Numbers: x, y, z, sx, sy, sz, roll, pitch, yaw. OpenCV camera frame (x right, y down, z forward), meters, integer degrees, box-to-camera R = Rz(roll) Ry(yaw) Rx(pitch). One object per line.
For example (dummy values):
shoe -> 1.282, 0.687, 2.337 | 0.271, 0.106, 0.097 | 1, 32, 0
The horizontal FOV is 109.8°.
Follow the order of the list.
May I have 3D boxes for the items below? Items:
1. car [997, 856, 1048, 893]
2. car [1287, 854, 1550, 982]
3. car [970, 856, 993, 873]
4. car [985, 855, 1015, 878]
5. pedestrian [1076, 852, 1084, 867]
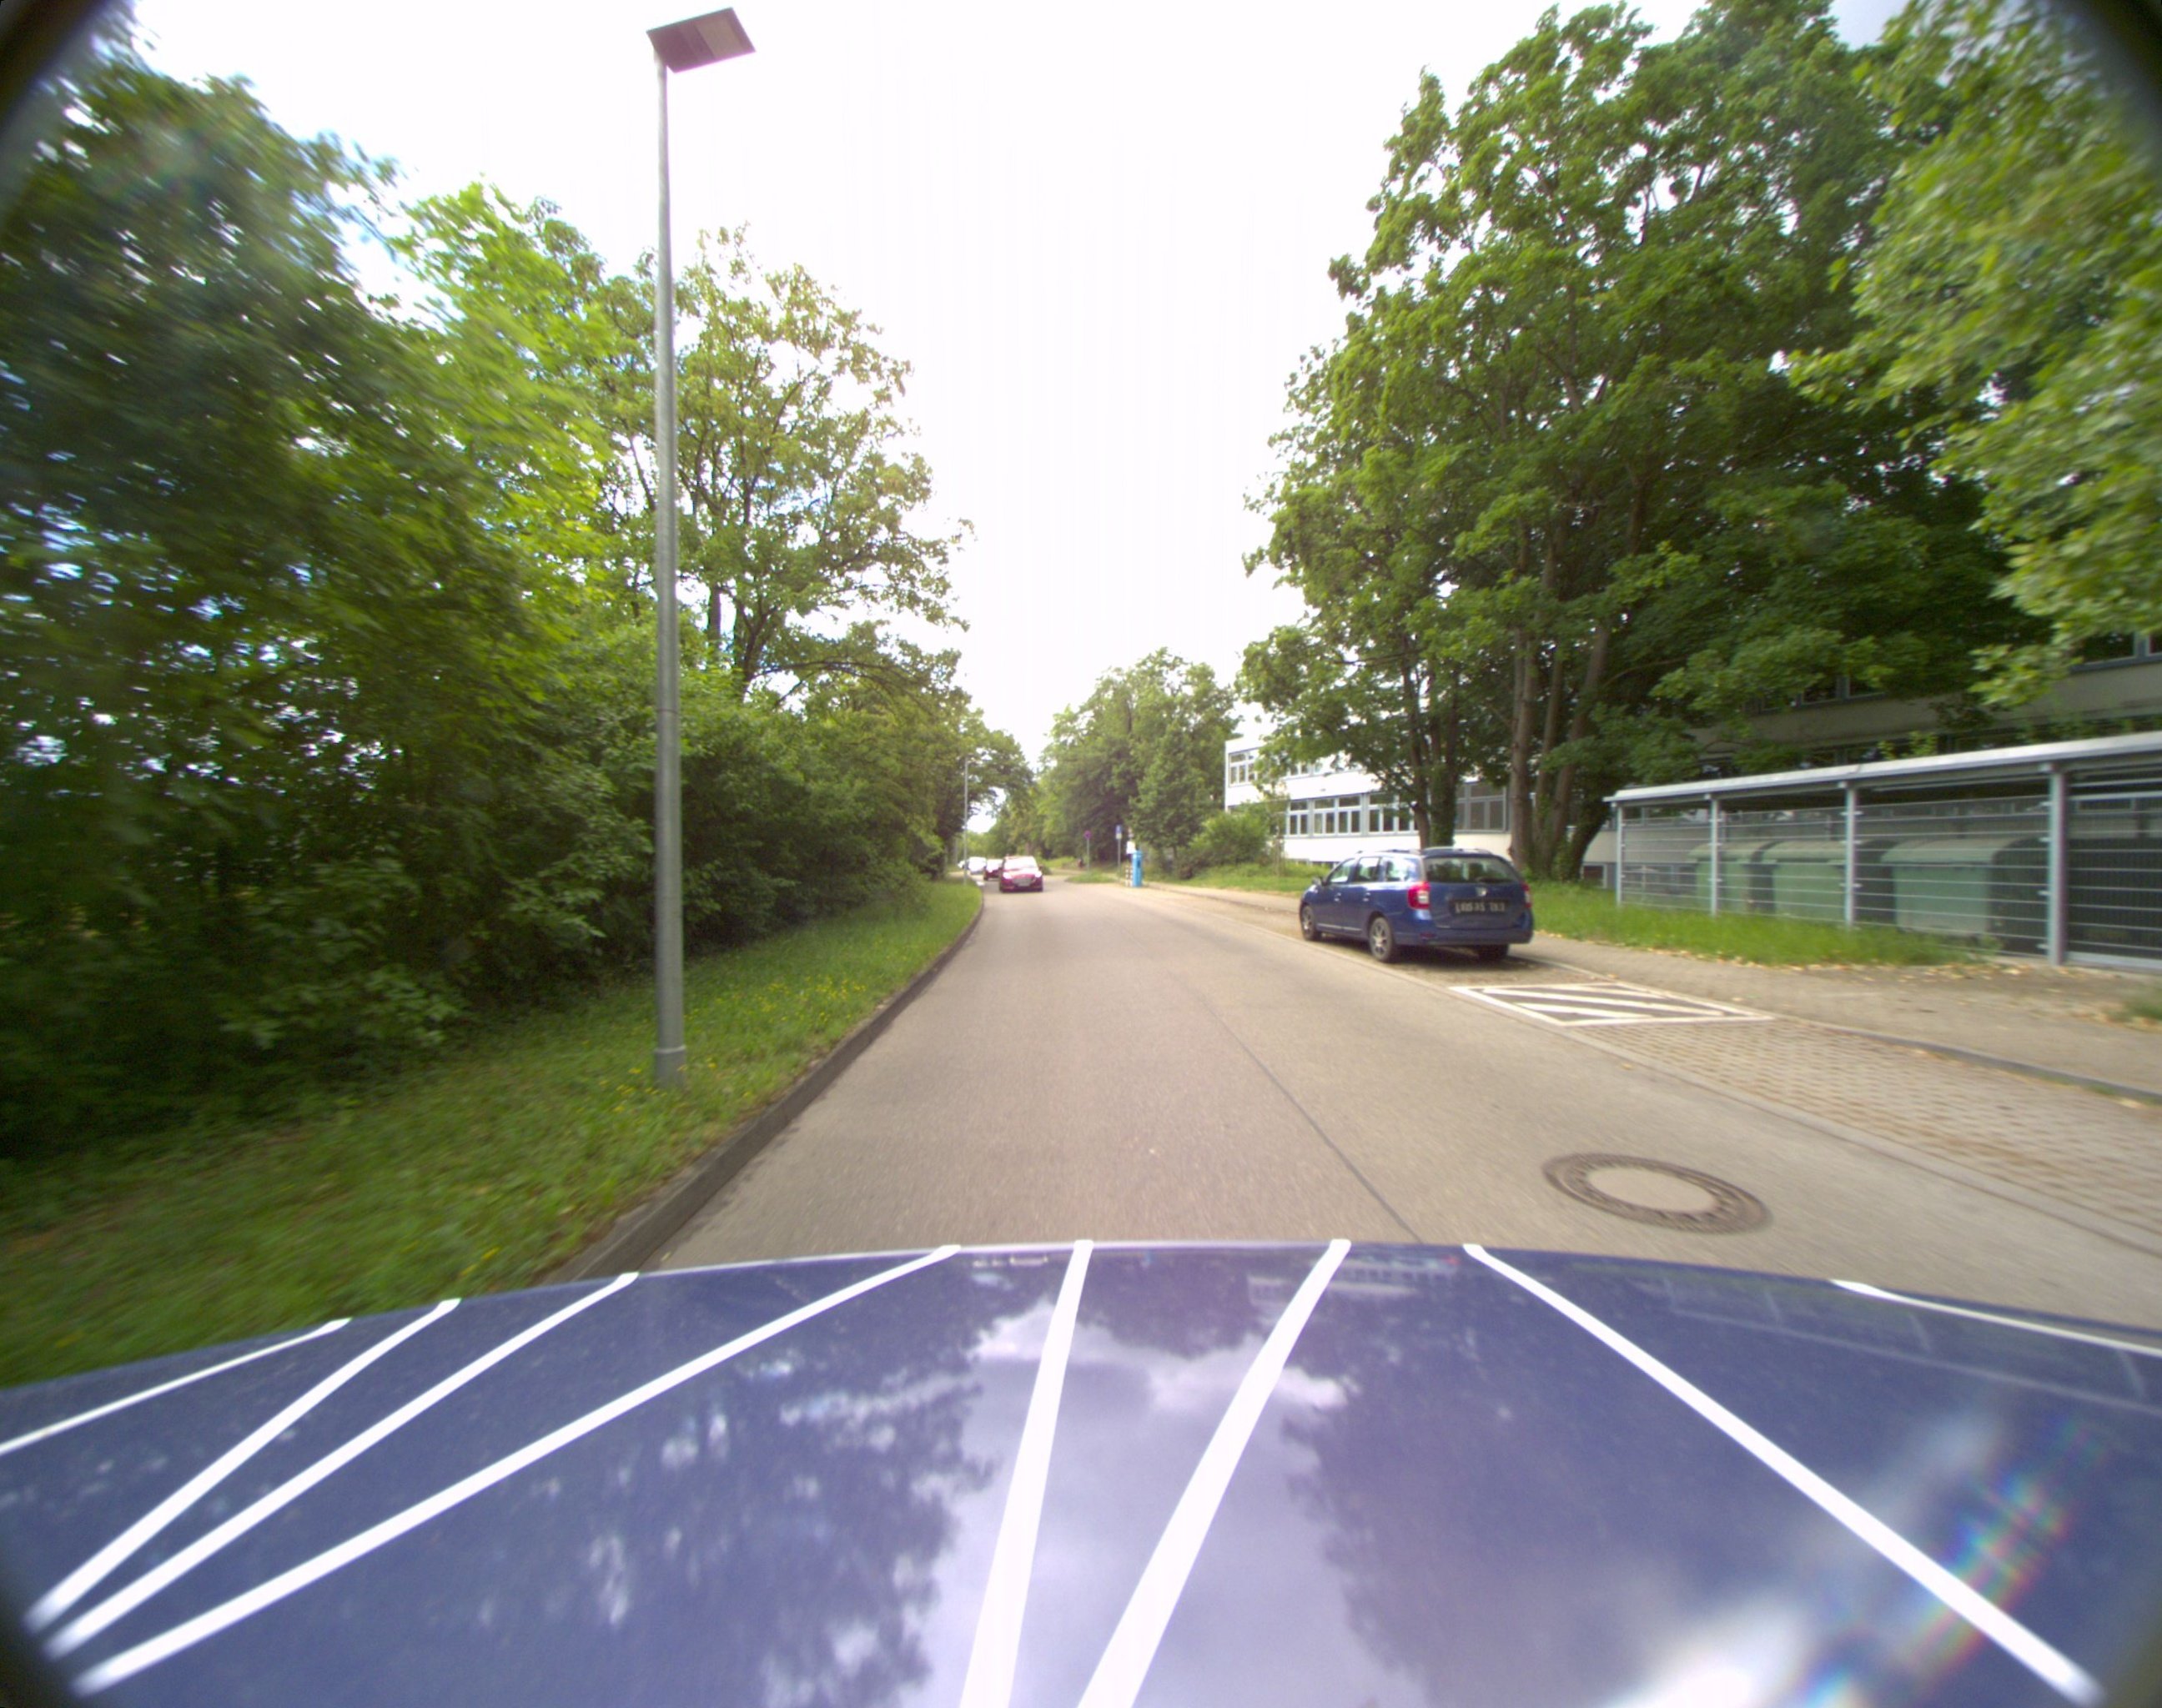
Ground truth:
car -> -2.836, 0.914, 35.721 | 1.863, 1.608, 4.472 | -2, 0, -11
car -> 4.638, 0.762, 11.276 | 1.685, 1.503, 4.429 | -1, 0, -4
car -> -9.700, 1.017, 73.775 | 1.922, 1.587, 3.894 | 0, 0, -11
car -> -5.765, 0.852, 53.772 | 2.000, 1.564, 3.997 | 0, 0, -8
pedestrian -> -0.090, 0.574, 82.428 | 0.762, 1.653, 0.808 | 0, 0, -12
